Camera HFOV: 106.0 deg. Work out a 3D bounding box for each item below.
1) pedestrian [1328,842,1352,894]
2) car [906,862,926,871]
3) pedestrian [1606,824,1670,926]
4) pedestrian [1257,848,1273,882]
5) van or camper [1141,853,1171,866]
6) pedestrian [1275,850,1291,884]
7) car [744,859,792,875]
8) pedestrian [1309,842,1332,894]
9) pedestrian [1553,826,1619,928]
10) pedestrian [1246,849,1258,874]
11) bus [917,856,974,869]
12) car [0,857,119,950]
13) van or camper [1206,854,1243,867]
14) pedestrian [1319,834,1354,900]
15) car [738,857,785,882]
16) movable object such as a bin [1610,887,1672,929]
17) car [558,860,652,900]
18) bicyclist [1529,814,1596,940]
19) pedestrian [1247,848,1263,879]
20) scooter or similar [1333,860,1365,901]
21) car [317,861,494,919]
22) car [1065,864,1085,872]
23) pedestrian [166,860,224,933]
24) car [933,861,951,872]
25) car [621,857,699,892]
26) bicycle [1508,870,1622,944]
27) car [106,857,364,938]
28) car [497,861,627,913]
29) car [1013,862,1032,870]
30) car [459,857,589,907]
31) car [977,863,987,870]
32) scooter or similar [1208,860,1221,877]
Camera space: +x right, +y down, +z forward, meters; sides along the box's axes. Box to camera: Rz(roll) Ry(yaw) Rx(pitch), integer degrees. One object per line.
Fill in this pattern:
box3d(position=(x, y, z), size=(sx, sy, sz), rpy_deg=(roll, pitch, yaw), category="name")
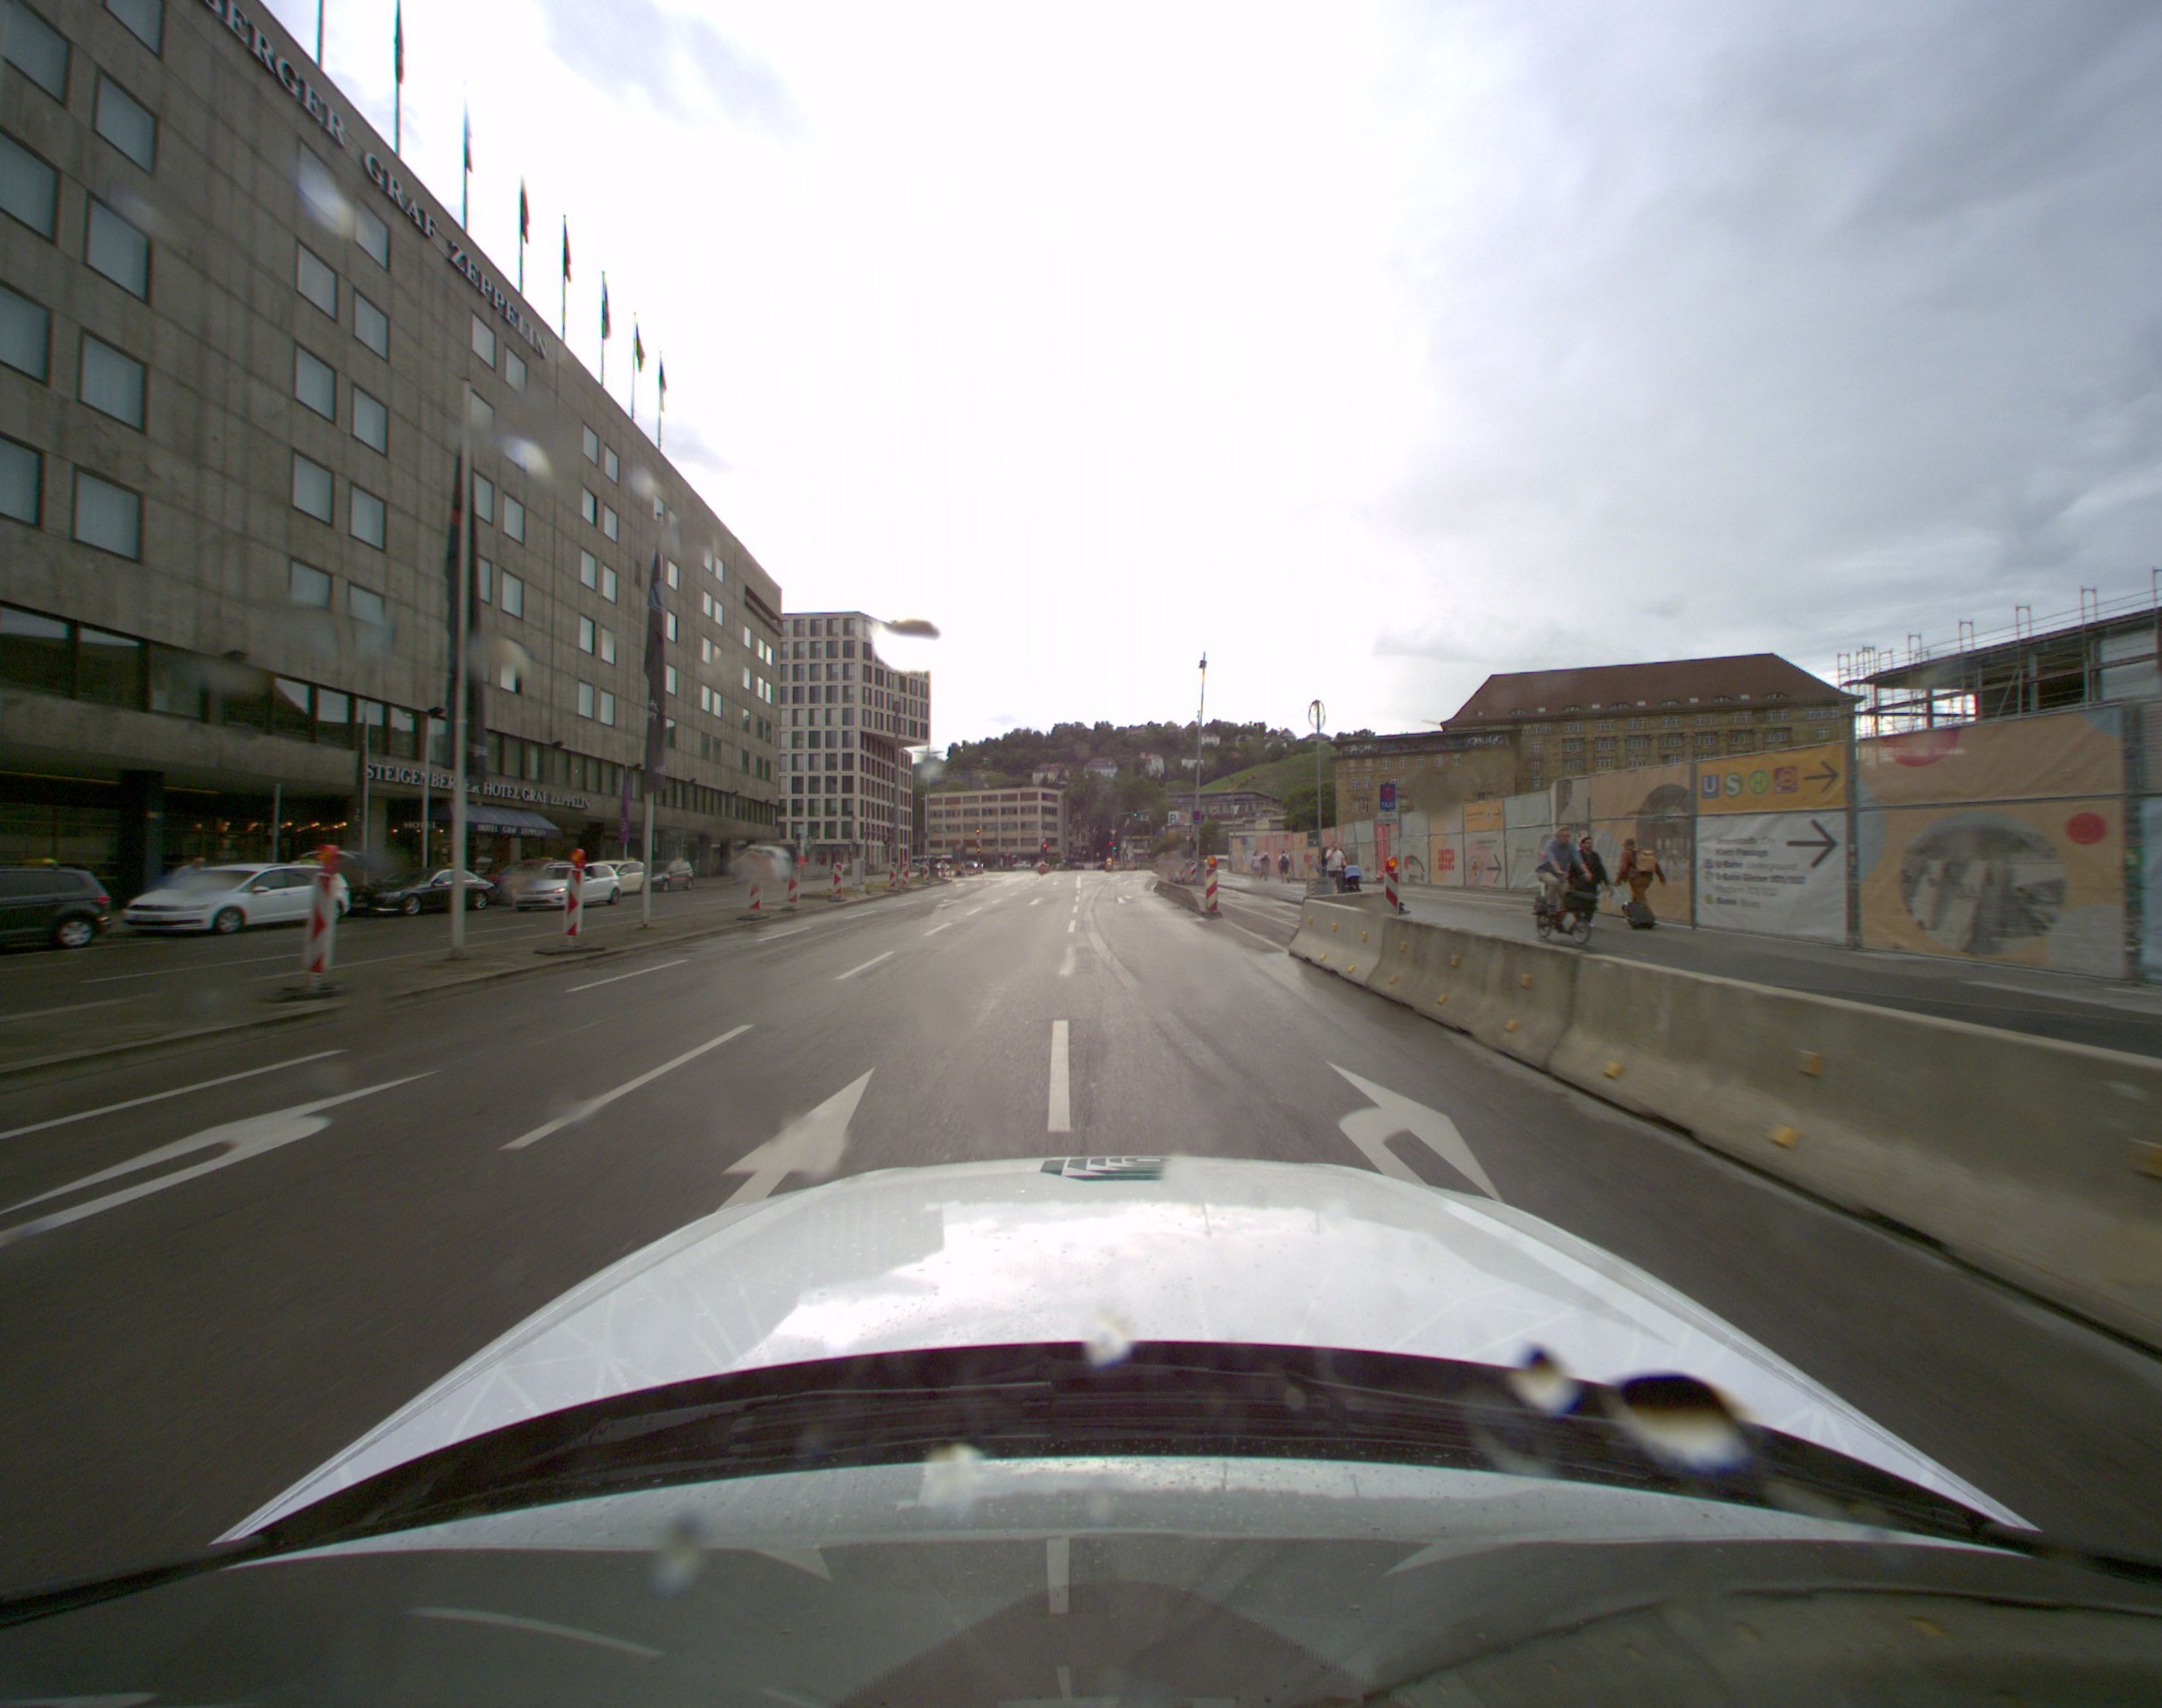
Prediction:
box3d(position=(9.524, 0.508, 29.963), size=(0.681, 1.889, 0.694), rpy_deg=(-1, -1, 2), category="pedestrian")
box3d(position=(-32.342, 2.408, 159.586), size=(3.949, 1.816, 1.817), rpy_deg=(-1, -1, 40), category="car")
box3d(position=(10.603, 0.396, 15.526), size=(0.764, 1.895, 0.654), rpy_deg=(0, -1, 2), category="pedestrian")
box3d(position=(9.527, 0.584, 42.142), size=(0.640, 1.740, 0.837), rpy_deg=(0, -1, 0), category="pedestrian")
box3d(position=(11.321, 0.853, 122.874), size=(4.230, 1.979, 1.850), rpy_deg=(-1, -1, -2), category="van or camper")
box3d(position=(11.503, 0.739, 46.367), size=(0.701, 1.866, 0.990), rpy_deg=(-1, -1, 1), category="pedestrian")
box3d(position=(-38.343, 1.585, 99.877), size=(5.041, 1.904, 2.091), rpy_deg=(-1, -1, 7), category="car")
box3d(position=(8.815, 0.507, 29.994), size=(0.681, 1.889, 0.694), rpy_deg=(-1, -1, 2), category="pedestrian")
box3d(position=(9.655, 0.432, 15.596), size=(0.845, 1.895, 0.662), rpy_deg=(0, -1, 1), category="pedestrian")
box3d(position=(12.855, 0.582, 61.153), size=(0.717, 1.866, 0.709), rpy_deg=(0, -1, -1), category="pedestrian")
box3d(position=(-30.664, 1.944, 183.676), size=(13.796, 2.751, 3.232), rpy_deg=(-1, -1, 31), category="bus")
box3d(position=(-20.625, 0.920, 14.572), size=(1.748, 1.681, 4.228), rpy_deg=(-1, 0, 0), category="car")
box3d(position=(21.671, 0.981, 122.997), size=(5.180, 1.894, 1.887), rpy_deg=(-1, -1, -1), category="van or camper")
box3d(position=(7.985, 0.407, 25.475), size=(0.799, 2.016, 0.972), rpy_deg=(-1, -1, 2), category="pedestrian")
box3d(position=(-22.869, 1.085, 58.444), size=(1.770, 1.762, 4.367), rpy_deg=(0, -1, -3), category="car")
box3d(position=(10.377, 0.996, 15.109), size=(0.595, 0.734, 0.777), rpy_deg=(0, -1, 0), category="movable object such as a bin")
box3d(position=(-21.735, 1.144, 37.429), size=(1.812, 1.698, 4.573), rpy_deg=(0, -1, -3), category="car")
box3d(position=(7.892, 0.375, 13.377), size=(0.724, 2.014, 0.599), rpy_deg=(0, -1, 2), category="bicyclist")
box3d(position=(10.073, 0.543, 47.204), size=(0.681, 1.740, 0.907), rpy_deg=(0, -1, -1), category="pedestrian")
box3d(position=(8.038, 0.782, 24.463), size=(0.662, 1.198, 1.044), rpy_deg=(-1, -1, 2), category="scooter or similar")
box3d(position=(-21.267, 1.049, 25.952), size=(1.898, 1.659, 4.612), rpy_deg=(0, 0, -3), category="car")
box3d(position=(-1.141, 2.615, 150.160), size=(1.742, 1.492, 4.036), rpy_deg=(0, -1, -33), category="car")
box3d(position=(-22.119, 1.042, 20.339), size=(0.619, 1.781, 0.657), rpy_deg=(1, -2, -3), category="pedestrian")
box3d(position=(-23.416, 2.086, 137.214), size=(2.215, 1.753, 4.811), rpy_deg=(-1, -1, 0), category="car")
box3d(position=(-22.030, 1.037, 42.839), size=(1.811, 1.728, 4.512), rpy_deg=(-1, -1, -1), category="car")
box3d(position=(7.906, 0.827, 13.423), size=(0.763, 1.112, 1.982), rpy_deg=(-1, -1, 2), category="bicycle")
box3d(position=(-20.895, 0.997, 20.492), size=(1.750, 1.758, 4.705), rpy_deg=(-1, -1, -4), category="car")
box3d(position=(-17.881, 1.073, 28.341), size=(1.820, 1.669, 4.494), rpy_deg=(0, -1, -3), category="car")
box3d(position=(-12.267, 2.522, 170.692), size=(4.026, 1.492, 1.746), rpy_deg=(-1, -1, 43), category="car")
box3d(position=(-21.510, 1.030, 31.714), size=(1.896, 1.768, 4.644), rpy_deg=(-1, -1, -1), category="car")
box3d(position=(-19.931, 2.495, 163.869), size=(1.829, 1.486, 3.989), rpy_deg=(-1, -1, -8), category="car")
box3d(position=(9.194, 0.977, 56.295), size=(0.467, 1.183, 1.411), rpy_deg=(0, -1, -8), category="scooter or similar")
